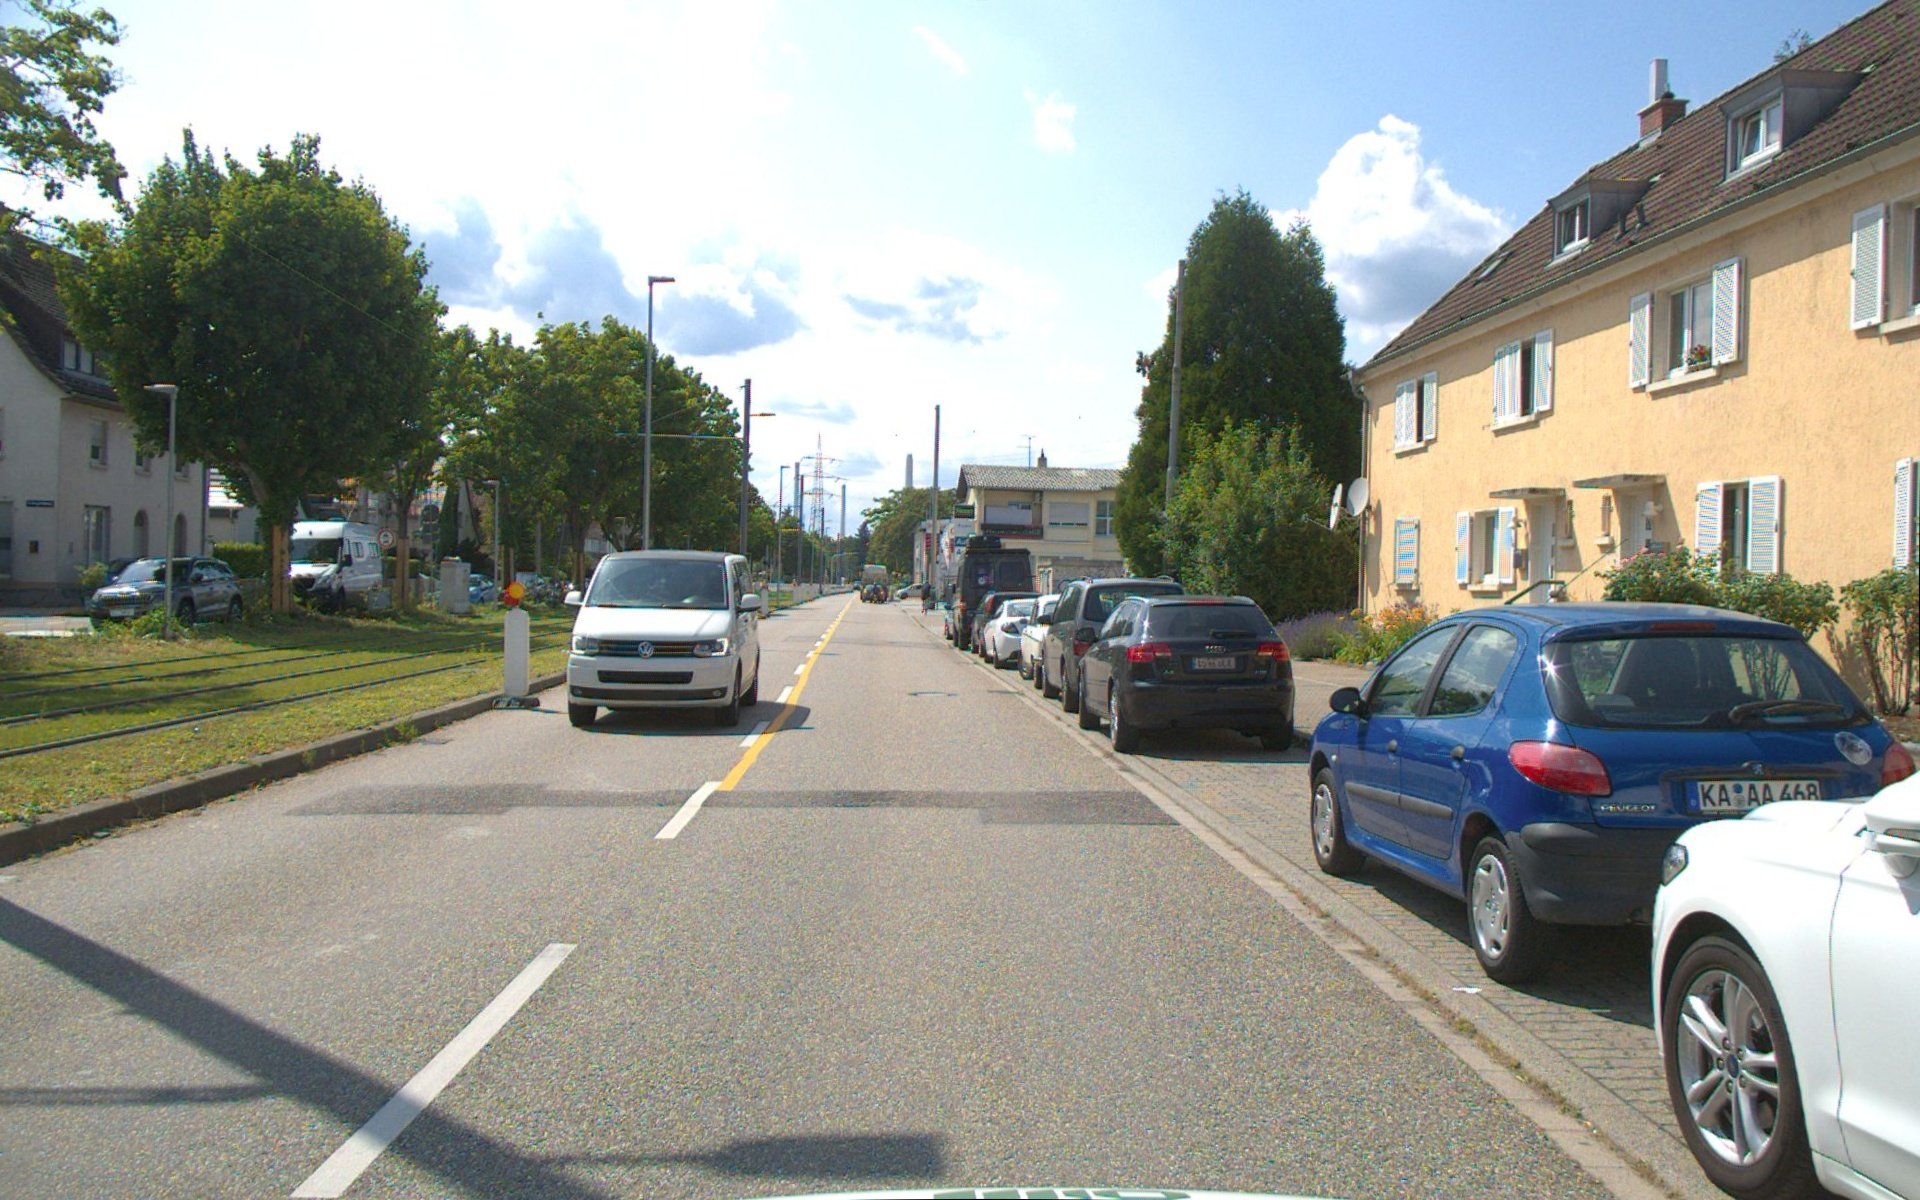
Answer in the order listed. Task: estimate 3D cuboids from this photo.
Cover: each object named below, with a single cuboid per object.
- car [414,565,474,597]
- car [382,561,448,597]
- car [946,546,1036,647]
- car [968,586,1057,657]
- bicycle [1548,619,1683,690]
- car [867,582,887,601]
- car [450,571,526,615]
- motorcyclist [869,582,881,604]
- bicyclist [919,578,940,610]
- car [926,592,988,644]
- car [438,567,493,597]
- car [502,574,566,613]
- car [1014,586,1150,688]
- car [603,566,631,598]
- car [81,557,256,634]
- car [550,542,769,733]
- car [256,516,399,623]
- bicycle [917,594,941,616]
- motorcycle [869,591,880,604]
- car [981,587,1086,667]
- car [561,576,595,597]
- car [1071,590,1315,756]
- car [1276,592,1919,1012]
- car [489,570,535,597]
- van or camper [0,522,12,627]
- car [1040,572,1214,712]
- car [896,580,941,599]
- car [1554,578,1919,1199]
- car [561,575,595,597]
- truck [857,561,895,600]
[{"bbox_3d":[-26.162,-0.938,83.966,1.841,1.580,4.395,1,0,-4],"label":"car"},{"bbox_3d":[-25.774,-0.972,78.366,1.841,1.580,4.395,1,0,-4],"label":"car"},{"bbox_3d":[0.750,-0.119,44.296,1.920,2.522,6.056,-1,1,-4],"label":"car"},{"bbox_3d":[1.159,0.459,38.215,1.728,1.528,3.998,-1,1,-3],"label":"car"},{"bbox_3d":[9.306,0.773,23.488,1.824,0.972,0.366,1,0,-7],"label":"bicycle"},{"bbox_3d":[-6.913,-0.697,137.307,1.537,1.524,4.145,1,1,-5],"label":"car"},{"bbox_3d":[-17.903,-0.260,62.905,1.841,1.580,4.375,1,0,-4],"label":"car"},{"bbox_3d":[-6.799,-0.582,131.953,0.866,1.696,1.108,1,0,-4],"label":"motorcyclist"},{"bbox_3d":[-1.577,-0.309,84.845,0.975,1.596,1.138,1,0,-6],"label":"bicyclist"},{"bbox_3d":[-0.130,0.541,52.628,1.729,1.528,3.997,-1,1,-4],"label":"car"},{"bbox_3d":[-26.547,-0.948,88.913,1.841,1.580,4.395,1,0,-4],"label":"car"},{"bbox_3d":[-18.473,-0.277,71.919,1.841,1.580,4.395,1,0,-4],"label":"car"},{"bbox_3d":[1.894,0.535,26.759,1.728,1.502,3.998,-1,1,-3],"label":"car"},{"bbox_3d":[-30.384,-1.574,146.502,1.842,2.794,4.394,1,0,-5],"label":"car"},{"bbox_3d":[-16.994,-0.111,35.766,1.693,1.531,4.566,-1,1,-2],"label":"car"},{"bbox_3d":[-3.472,0.365,20.095,1.890,1.993,5.373,-1,1,-3],"label":"car"},{"bbox_3d":[-17.636,-0.837,46.501,2.034,2.768,6.992,-1,1,-7],"label":"car"},{"bbox_3d":[-1.585,0.248,84.807,0.975,1.067,2.809,1,1,-6],"label":"bicycle"},{"bbox_3d":[-6.824,-0.198,132.218,0.866,0.940,2.614,1,1,-4],"label":"motorcycle"},{"bbox_3d":[1.414,0.495,33.044,1.728,1.465,3.998,-1,1,-3],"label":"car"},{"bbox_3d":[-29.735,-1.033,128.840,1.842,1.580,4.394,1,0,-5],"label":"car"},{"bbox_3d":[2.220,0.641,16.765,1.728,1.442,3.998,-1,1,-3],"label":"car"},{"bbox_3d":[2.763,0.702,7.870,1.588,1.442,3.998,-1,1,-3],"label":"car"},{"bbox_3d":[-27.209,-0.968,100.519,1.841,1.580,4.395,1,0,-4],"label":"car"},{"bbox_3d":[-32.304,-0.809,49.139,6.744,3.180,2.441,1,0,-4],"label":"van or camper"},{"bbox_3d":[2.112,0.483,21.925,1.728,1.672,3.998,-1,1,-3],"label":"car"},{"bbox_3d":[-4.348,-1.106,174.792,4.555,1.854,1.833,1,0,-8],"label":"car"},{"bbox_3d":[2.820,0.687,2.680,1.763,1.483,4.762,-1,0,-3],"label":"car"},{"bbox_3d":[-28.414,-1.004,123.097,1.842,1.580,4.394,1,0,-5],"label":"car"},{"bbox_3d":[-7.868,-1.784,154.398,3.158,3.461,11.343,1,0,-5],"label":"truck"}]
